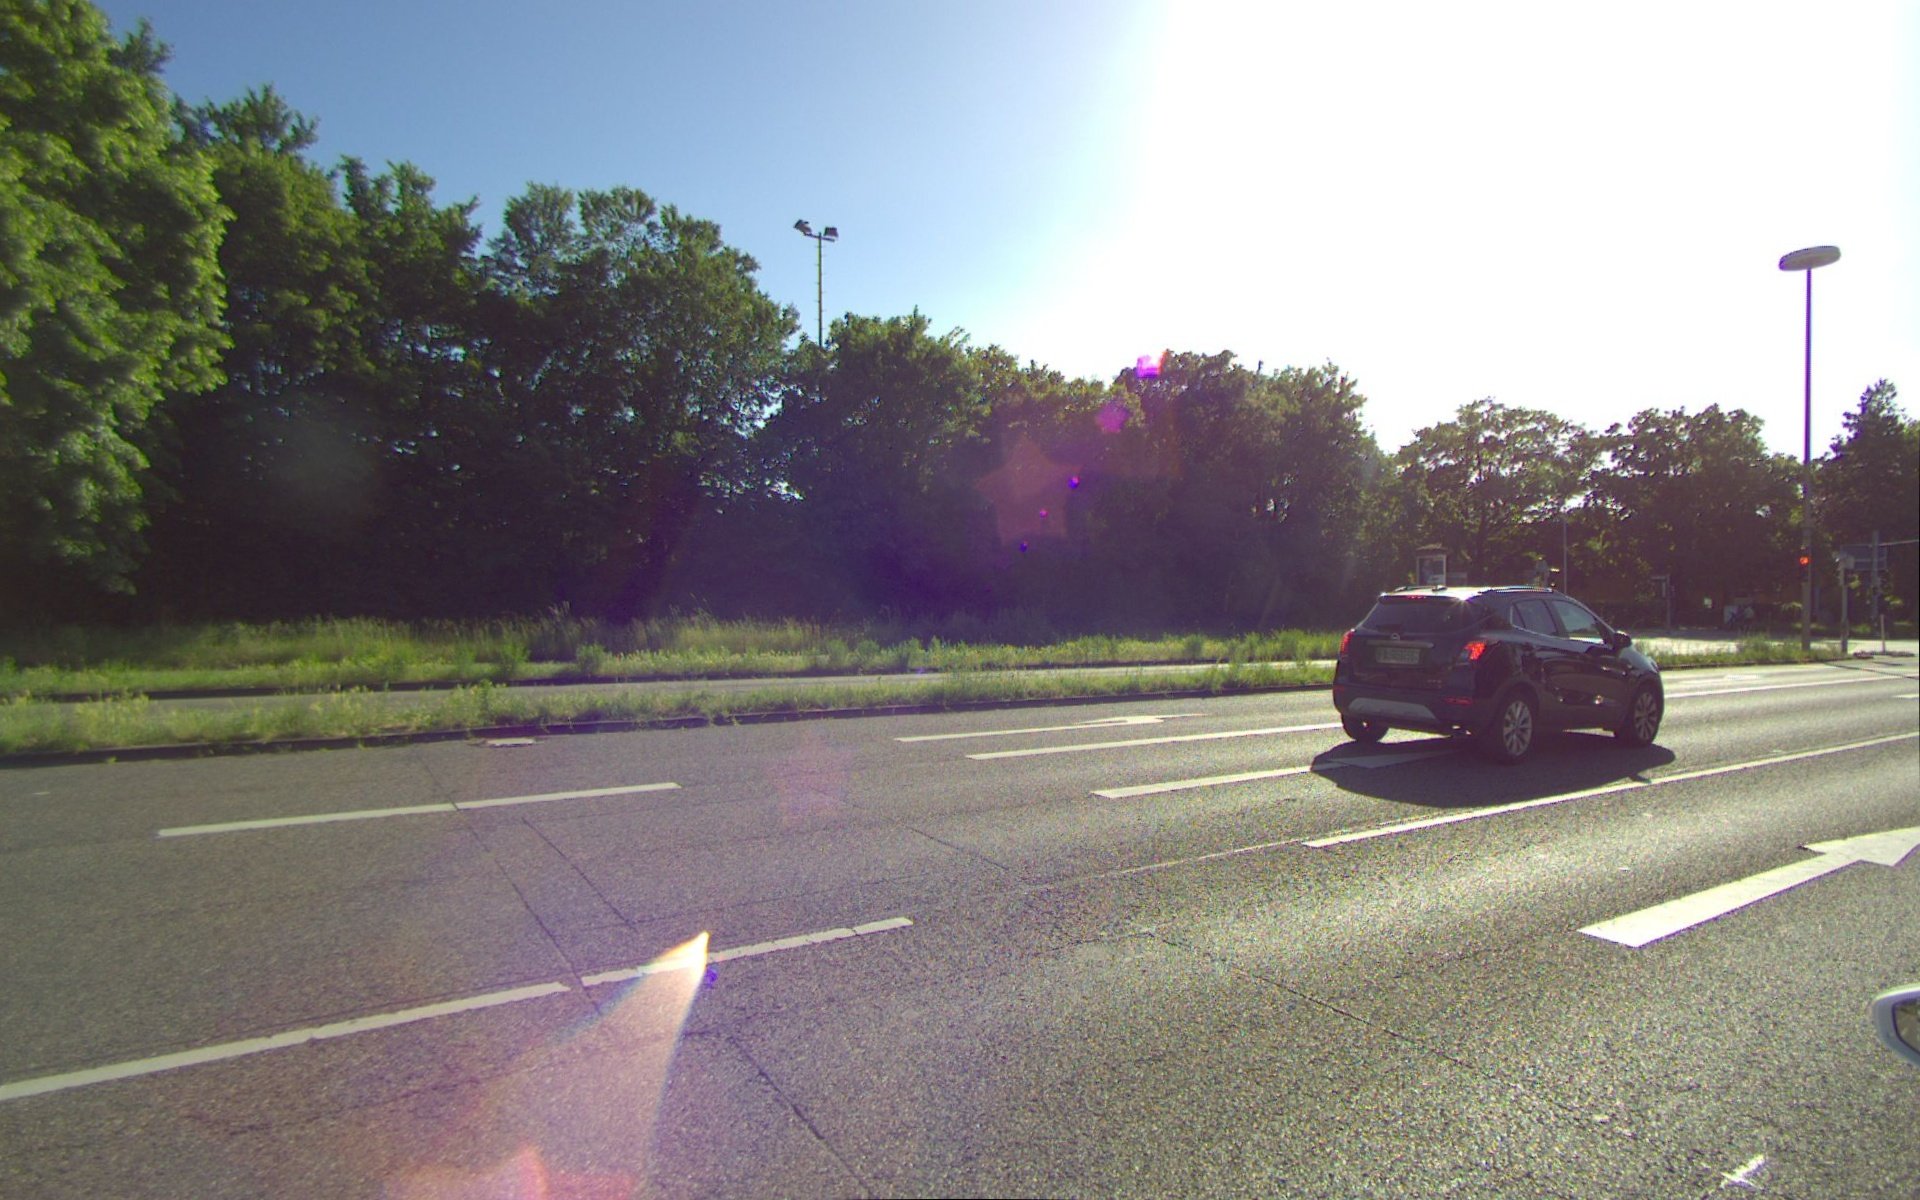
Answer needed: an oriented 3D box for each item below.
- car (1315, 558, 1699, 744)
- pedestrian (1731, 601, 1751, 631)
[{"bbox_3d":[5.954,0.483,10.774,4.369,1.654,1.686,1,1,-32],"label":"car"},{"bbox_3d":[49.480,0.993,63.667,0.542,1.860,0.842,0,0,-28],"label":"pedestrian"}]
